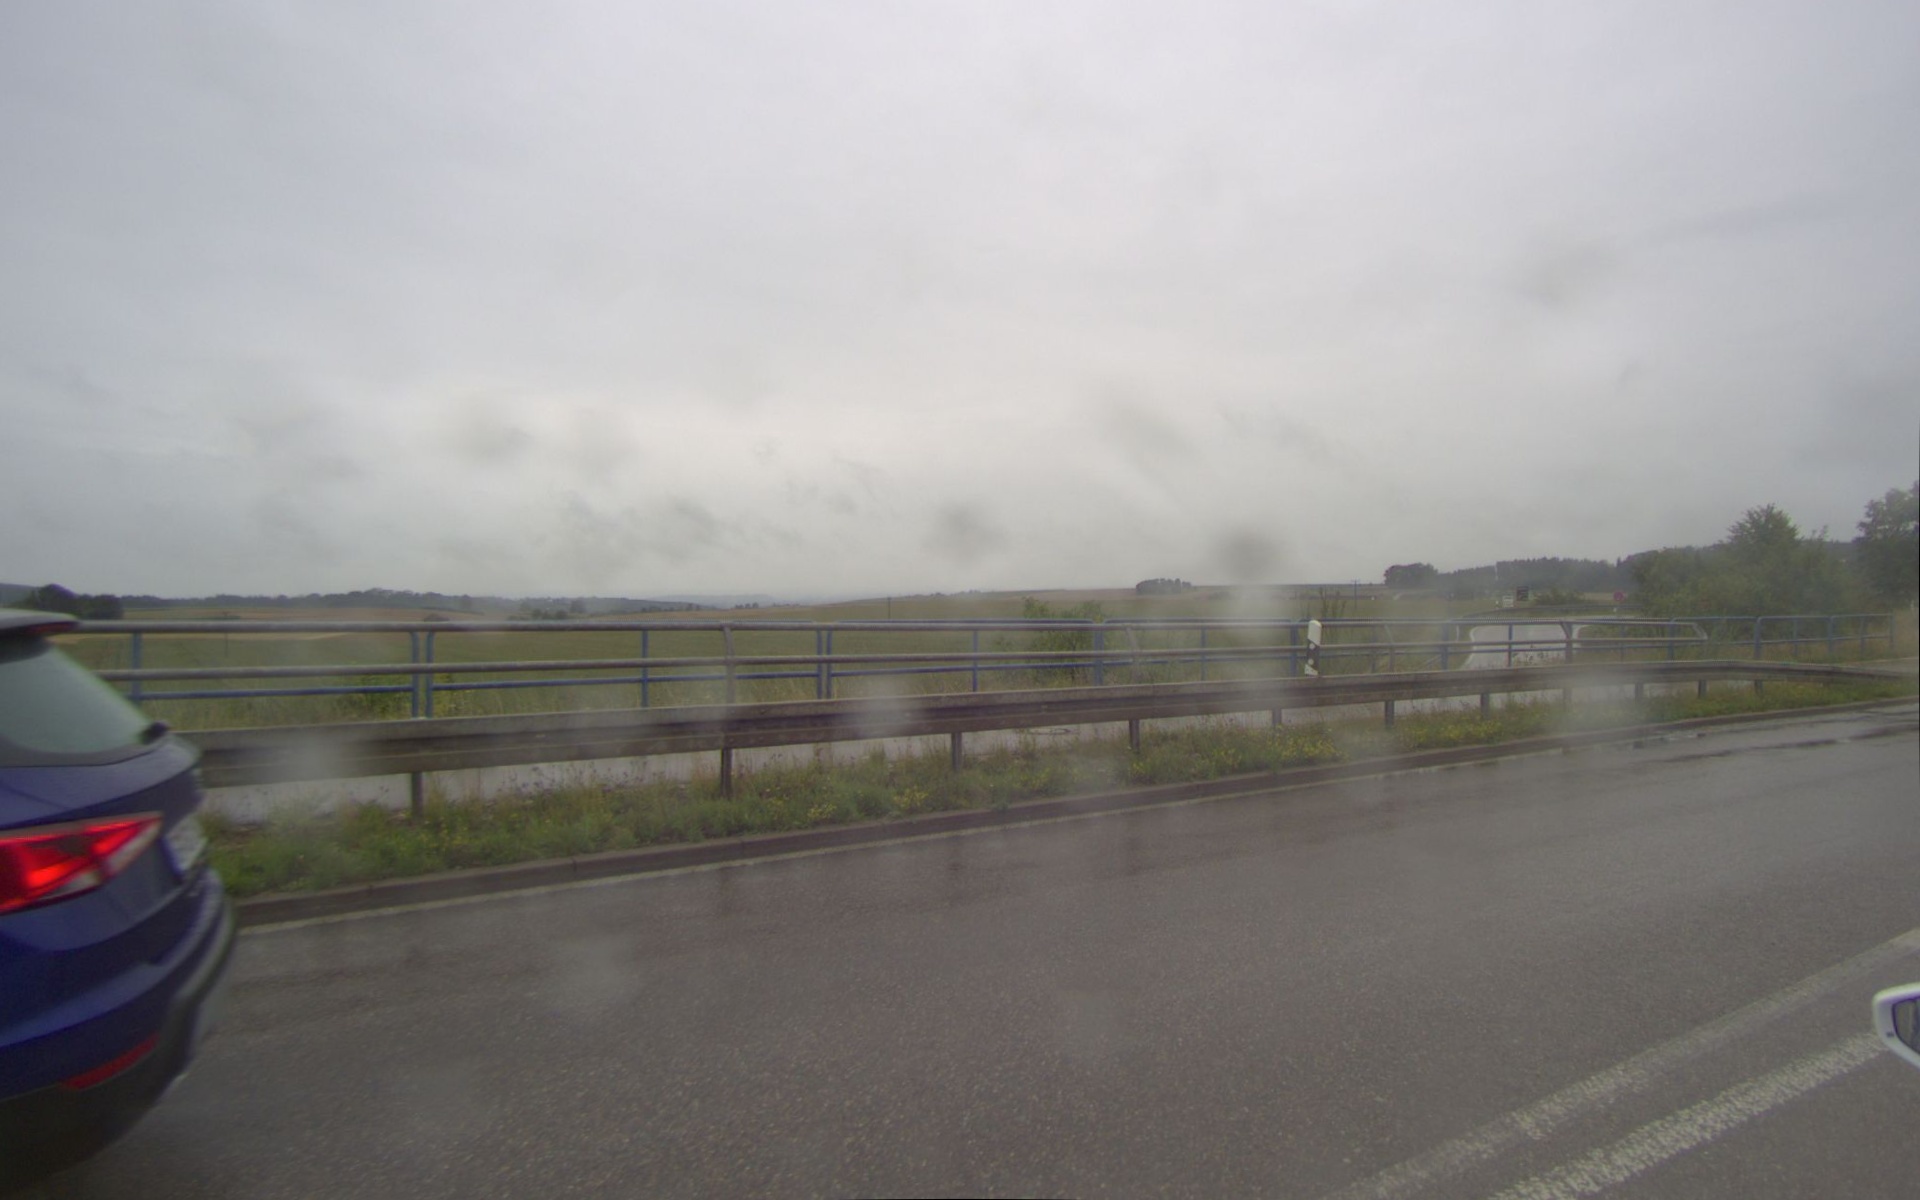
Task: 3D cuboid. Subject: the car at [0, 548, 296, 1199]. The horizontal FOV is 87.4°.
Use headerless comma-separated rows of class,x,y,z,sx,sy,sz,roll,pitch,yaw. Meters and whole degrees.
car,-3.651,0.664,1.703,4.122,1.546,1.771,1,-1,-32
